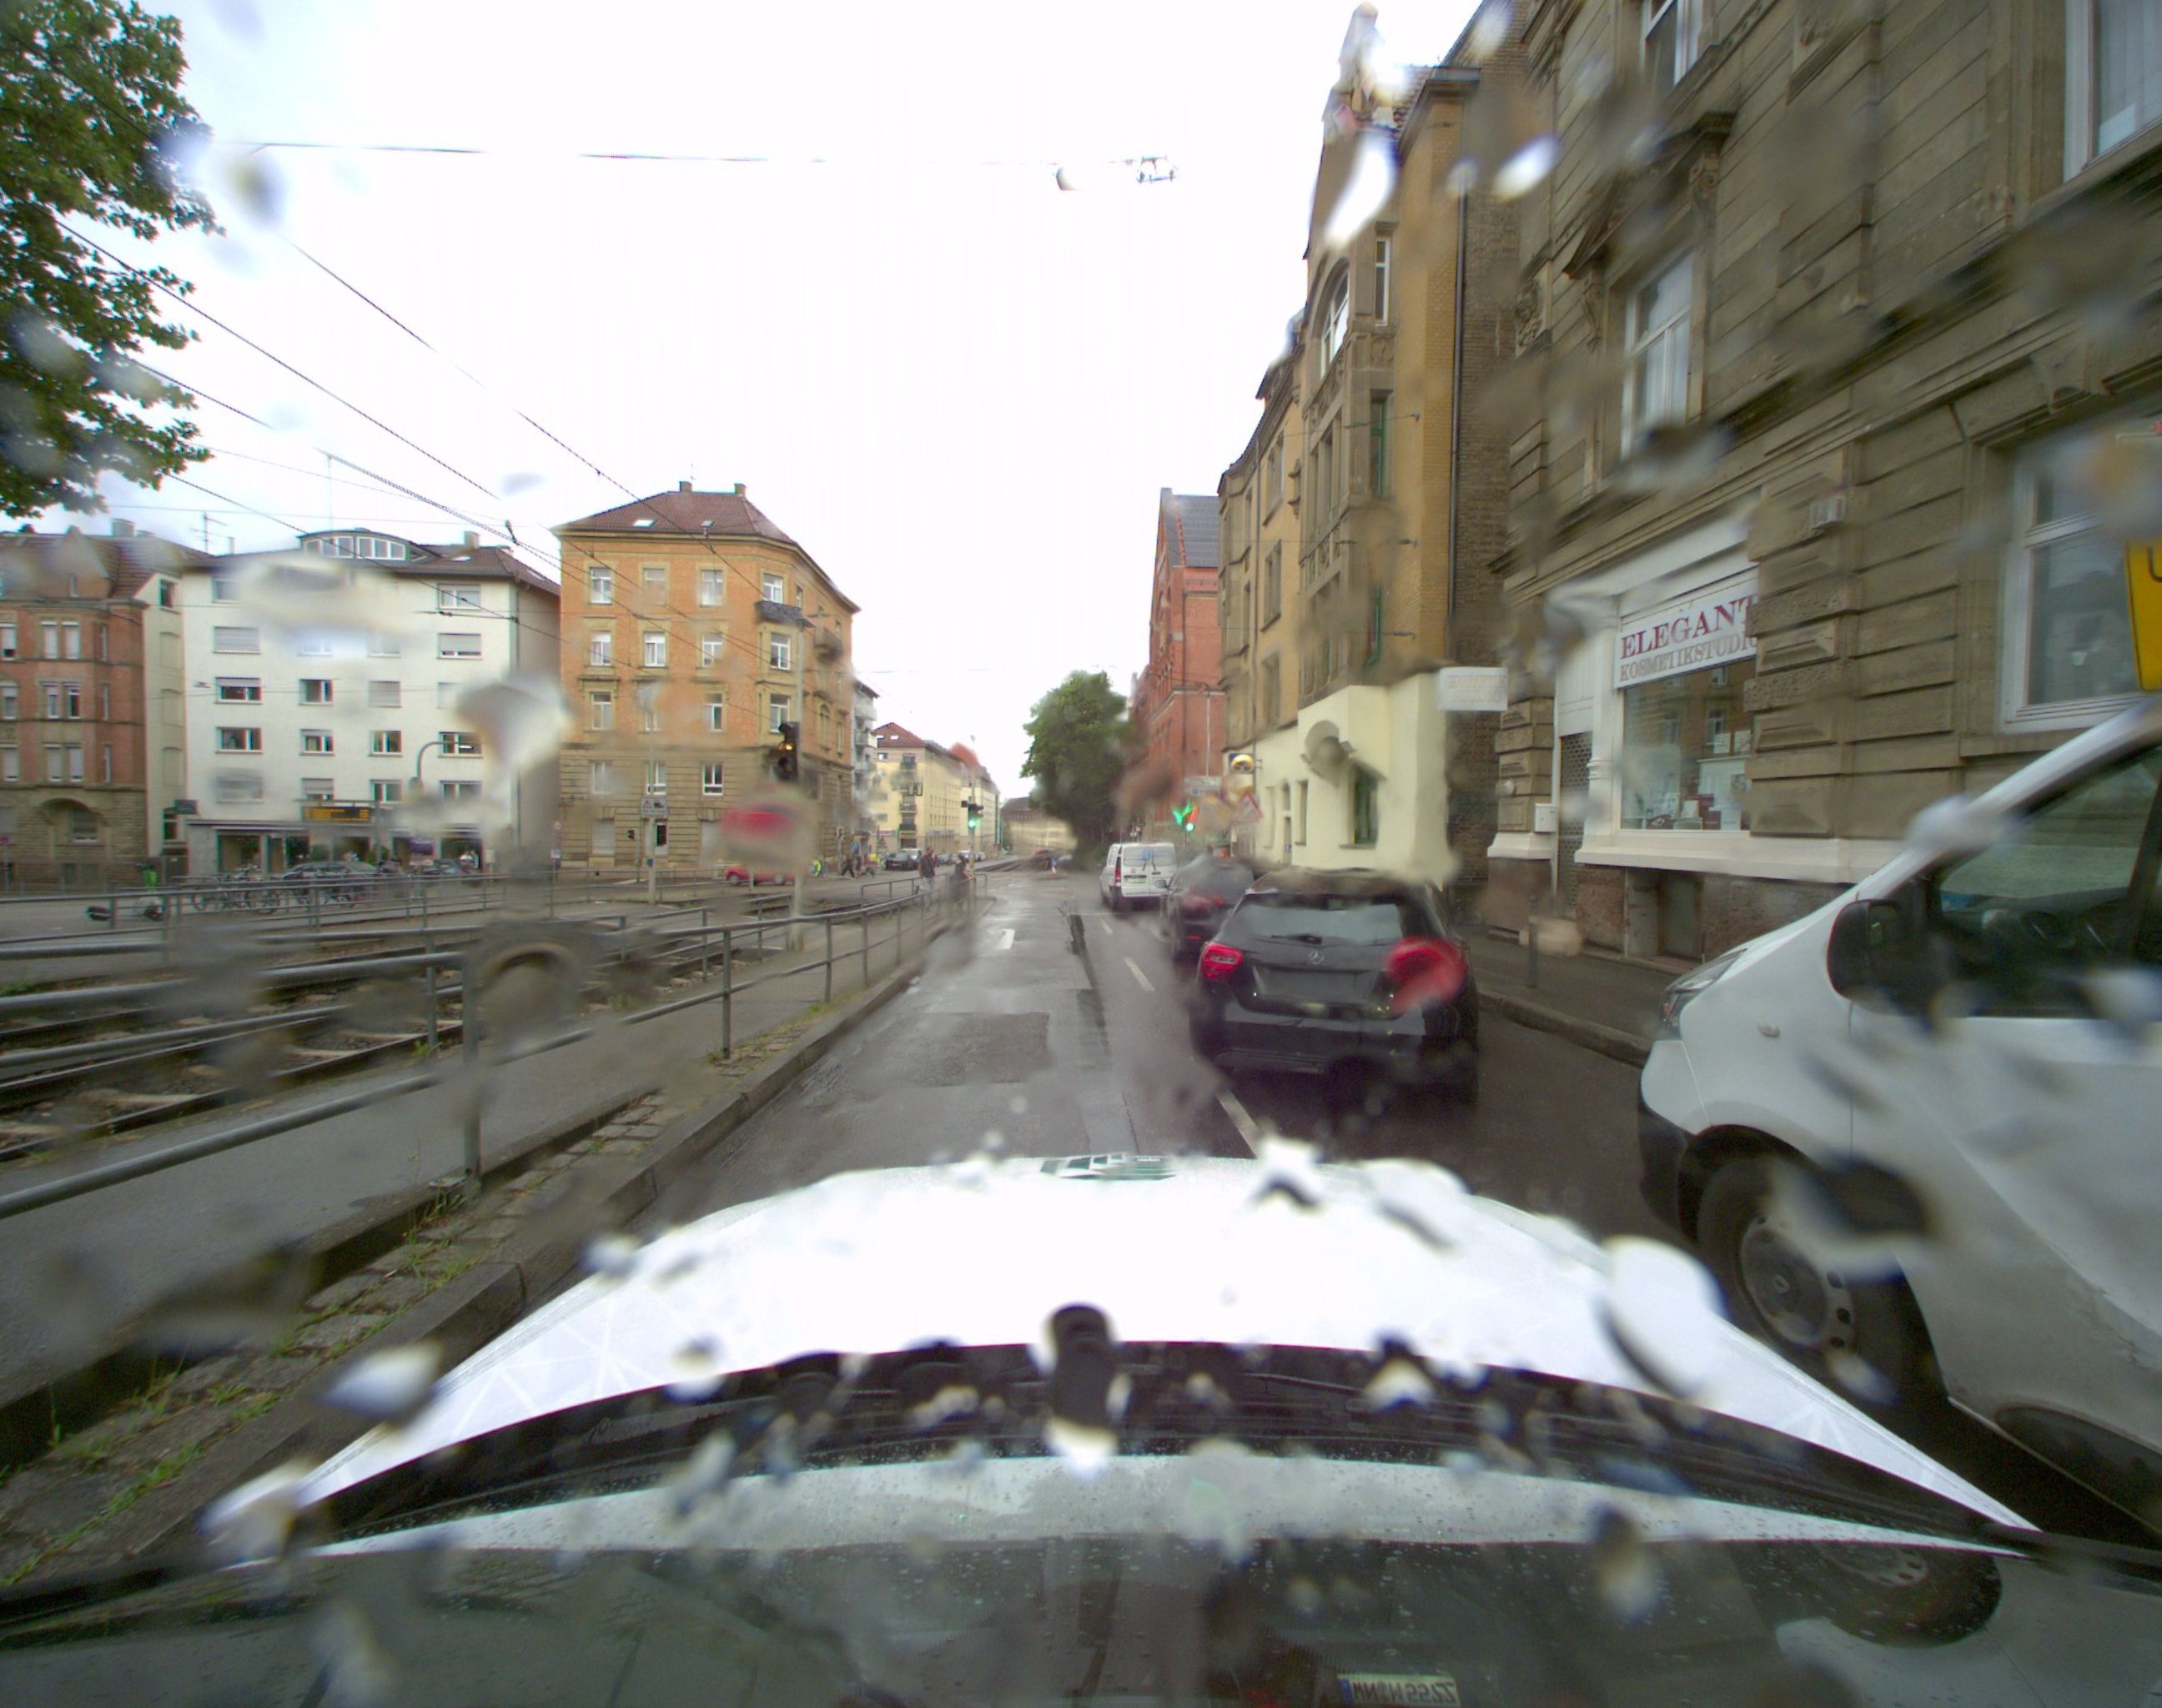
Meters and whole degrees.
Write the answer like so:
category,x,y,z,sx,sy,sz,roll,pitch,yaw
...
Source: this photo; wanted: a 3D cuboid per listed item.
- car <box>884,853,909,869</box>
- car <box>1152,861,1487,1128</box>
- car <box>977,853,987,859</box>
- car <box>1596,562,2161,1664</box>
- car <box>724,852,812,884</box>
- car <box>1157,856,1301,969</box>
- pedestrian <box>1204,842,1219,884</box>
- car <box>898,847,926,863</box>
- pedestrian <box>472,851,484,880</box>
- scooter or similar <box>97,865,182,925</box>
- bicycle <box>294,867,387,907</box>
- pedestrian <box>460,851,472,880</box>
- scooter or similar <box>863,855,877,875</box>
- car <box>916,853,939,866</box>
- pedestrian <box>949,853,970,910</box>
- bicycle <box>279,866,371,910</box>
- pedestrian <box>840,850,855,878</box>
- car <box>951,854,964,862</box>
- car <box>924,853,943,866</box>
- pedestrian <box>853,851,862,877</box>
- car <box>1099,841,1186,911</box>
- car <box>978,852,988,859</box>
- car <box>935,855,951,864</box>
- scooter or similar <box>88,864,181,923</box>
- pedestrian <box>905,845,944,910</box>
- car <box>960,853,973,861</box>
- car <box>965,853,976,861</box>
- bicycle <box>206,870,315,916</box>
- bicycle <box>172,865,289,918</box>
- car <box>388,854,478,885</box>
category,x,y,z,sx,sy,sz,roll,pitch,yaw
car,-15.949,0.594,70.479,1.448,1.318,3.292,1,0,-2
car,2.121,0.767,6.551,1.878,1.390,4.022,0,0,24
car,-17.496,0.349,144.397,1.391,1.171,3.160,0,0,-1
car,2.857,0.454,0.675,1.915,1.936,4.684,0,0,0
car,-15.121,0.673,39.385,3.577,1.489,1.691,0,0,12
car,2.164,0.778,12.943,1.706,1.469,4.284,0,0,3
pedestrian,3.983,0.284,24.862,0.411,1.271,0.292,0,0,4
car,-15.908,0.100,76.961,1.781,1.530,4.460,0,0,-1
pedestrian,-34.184,0.630,46.158,0.520,1.622,0.480,0,0,-41
scooter or similar,-19.516,0.823,16.895,0.357,1.195,1.119,0,0,38
bicycle,-20.461,0.907,22.534,1.872,1.065,0.515,0,0,-13
pedestrian,-34.607,0.638,45.817,0.520,1.622,0.480,0,0,-41
scooter or similar,-13.323,0.696,51.425,0.836,1.270,0.323,-1,0,-17
car,-15.755,0.542,83.616,1.675,1.356,3.701,0,0,-1
pedestrian,-3.286,0.729,22.028,0.531,1.530,0.435,0,0,-9
bicycle,-20.215,0.890,21.806,1.768,1.142,0.515,0,0,-13
pedestrian,-14.151,0.615,49.363,0.675,1.661,0.677,-1,0,5
car,-16.591,0.530,109.478,1.391,1.171,3.160,0,0,-1
car,-15.902,0.545,87.685,1.495,1.356,3.160,0,0,-1
pedestrian,-14.057,0.628,51.307,0.519,1.666,0.474,0,0,-17
car,1.655,0.570,23.439,1.929,1.831,4.275,0,0,-4
car,-17.904,0.297,148.874,1.391,1.171,3.160,0,0,-1
car,-16.301,0.650,96.114,1.433,1.106,3.160,0,0,-1
scooter or similar,-20.008,0.807,17.229,0.295,1.195,1.259,0,0,38
pedestrian,-4.252,0.632,22.092,0.745,1.724,0.732,1,0,-45
car,-16.963,0.380,120.651,1.391,1.171,3.160,0,0,-1
car,-17.219,0.484,126.950,1.391,1.171,3.160,0,0,-1
bicycle,-19.909,0.938,19.792,1.872,1.061,0.515,0,0,-13
bicycle,-19.607,0.850,18.804,1.872,1.195,0.515,0,0,-13
car,-31.936,0.757,40.197,3.156,1.489,1.418,0,0,-14
